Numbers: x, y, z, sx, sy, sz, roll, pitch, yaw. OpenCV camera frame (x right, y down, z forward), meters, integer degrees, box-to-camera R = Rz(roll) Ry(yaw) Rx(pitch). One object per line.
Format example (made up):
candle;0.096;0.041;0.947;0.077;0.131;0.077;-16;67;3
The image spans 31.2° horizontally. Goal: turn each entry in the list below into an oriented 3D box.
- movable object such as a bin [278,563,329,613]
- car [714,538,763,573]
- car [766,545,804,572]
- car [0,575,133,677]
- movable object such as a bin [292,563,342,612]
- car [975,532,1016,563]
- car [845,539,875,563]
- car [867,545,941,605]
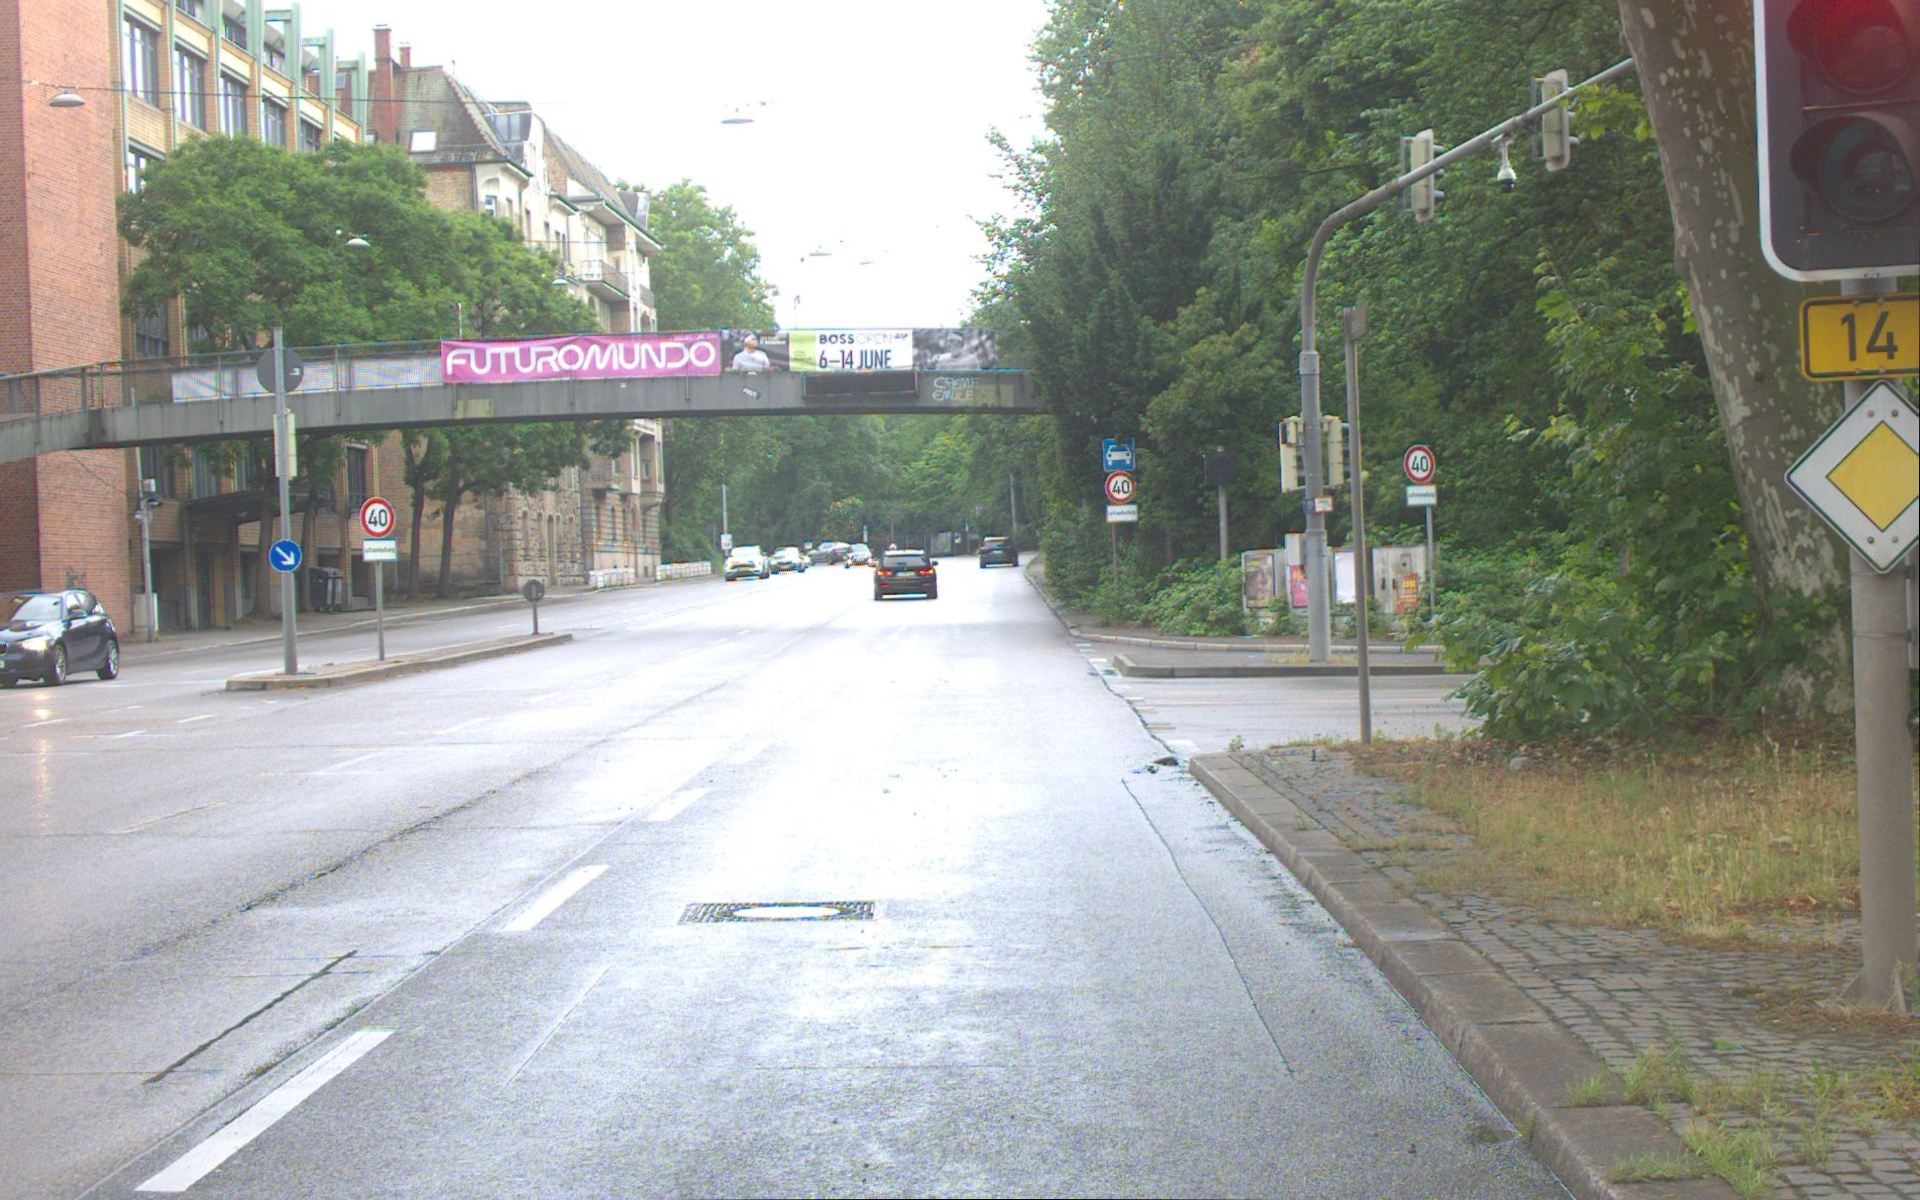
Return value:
movable object such as a bin;-20.396;-0.367;106.884;1.282;1.513;1.273;-1;1;1
car;-10.674;-2.142;165.720;1.890;1.604;4.456;-1;0;2
car;-9.737;-2.323;191.477;1.709;1.459;4.041;-2;0;3
car;-13.691;0.394;50.634;1.686;1.414;4.214;-2;0;4
movable object such as a bin;-20.276;-0.402;108.477;1.299;1.513;1.214;-1;1;1
car;1.667;-2.497;163.400;1.842;1.448;3.777;1;1;-1
car;-6.280;-3.065;216.154;1.683;1.431;3.862;-2;0;0
car;-1.645;-0.727;99.373;2.004;1.638;4.376;-2;1;-2
